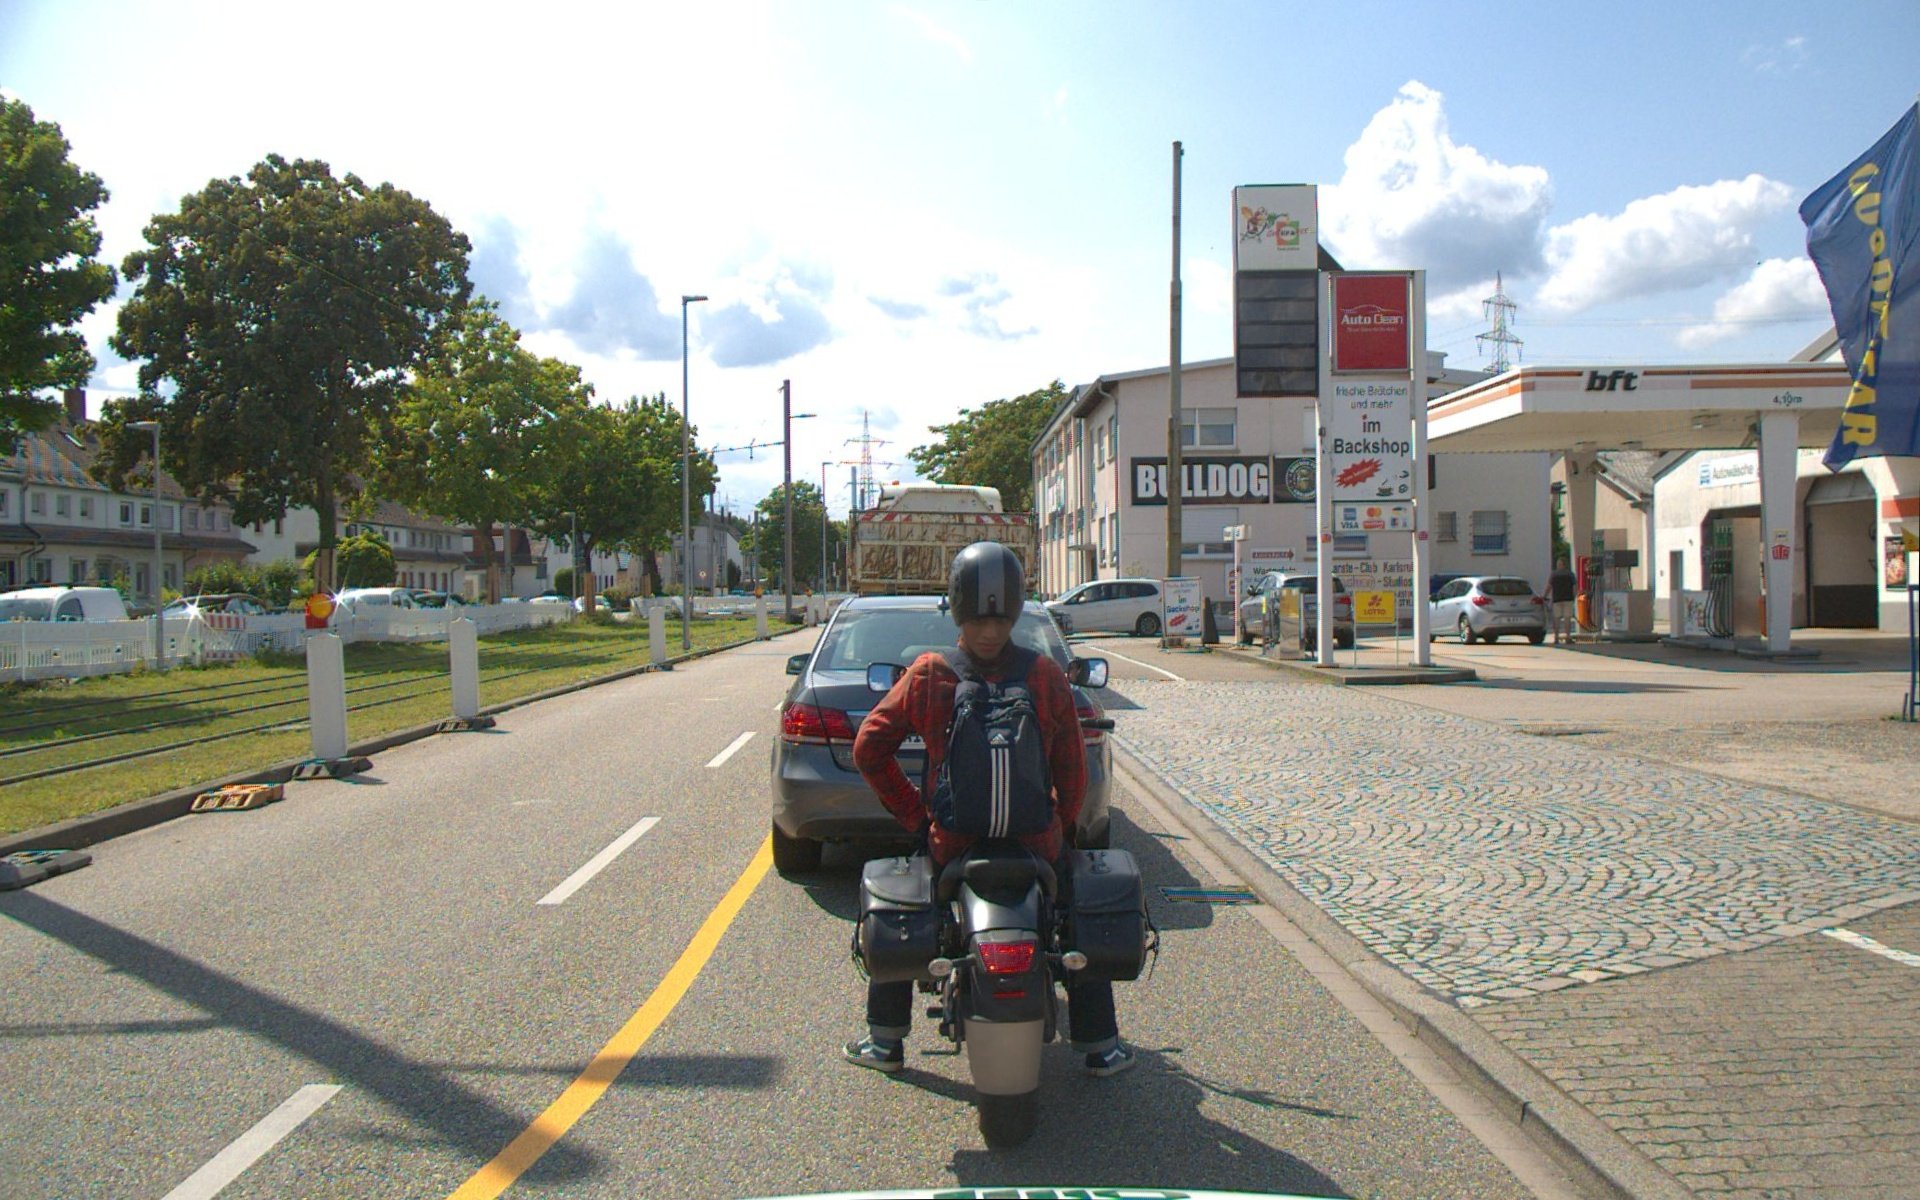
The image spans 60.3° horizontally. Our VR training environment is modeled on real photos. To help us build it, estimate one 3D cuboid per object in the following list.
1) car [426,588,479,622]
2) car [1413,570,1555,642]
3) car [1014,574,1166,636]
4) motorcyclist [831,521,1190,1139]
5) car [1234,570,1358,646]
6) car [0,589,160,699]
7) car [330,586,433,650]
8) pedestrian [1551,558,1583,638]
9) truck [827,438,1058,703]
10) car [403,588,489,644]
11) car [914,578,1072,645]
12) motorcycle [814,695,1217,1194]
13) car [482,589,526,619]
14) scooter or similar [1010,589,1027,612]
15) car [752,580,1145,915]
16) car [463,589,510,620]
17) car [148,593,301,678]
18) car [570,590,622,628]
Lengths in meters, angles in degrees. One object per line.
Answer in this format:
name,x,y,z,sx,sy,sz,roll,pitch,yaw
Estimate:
car,-28.184,0.251,91.932,1.664,1.770,4.061,-1,0,-1
car,11.771,0.105,37.418,1.795,1.505,4.008,-1,0,-2
car,3.669,0.121,47.082,4.029,1.652,1.682,-1,0,-9
motorcyclist,0.128,0.619,5.073,0.950,1.662,1.214,1,0,-1
car,7.400,0.145,36.752,1.795,1.562,4.008,-1,0,-2
car,-16.419,0.747,30.291,1.664,1.849,3.860,-1,0,-1
car,-16.935,0.497,48.612,1.664,1.770,3.860,-1,0,-1
pedestrian,13.133,-0.045,35.789,0.621,1.712,0.622,-1,0,20
truck,-0.357,-0.420,25.466,2.910,3.362,8.404,-1,0,-2
car,-17.021,0.502,54.946,1.664,1.770,3.860,-1,0,-1
car,0.899,0.278,43.431,4.018,1.652,1.687,-1,0,5
motorcycle,0.117,0.901,5.192,0.956,1.031,2.431,1,0,-1
car,-28.668,0.237,104.144,1.664,1.770,4.061,-1,0,-1
scooter or similar,3.097,0.014,87.299,0.779,1.165,1.519,-1,0,-1
car,-0.114,0.664,9.679,1.795,1.505,4.008,-1,0,-2
car,-28.065,0.266,98.142,1.664,1.770,4.061,-1,0,-1
car,-16.674,0.761,37.715,1.664,1.770,4.053,-1,0,-1
car,-17.495,0.411,79.668,1.664,1.770,3.860,-1,0,-1
